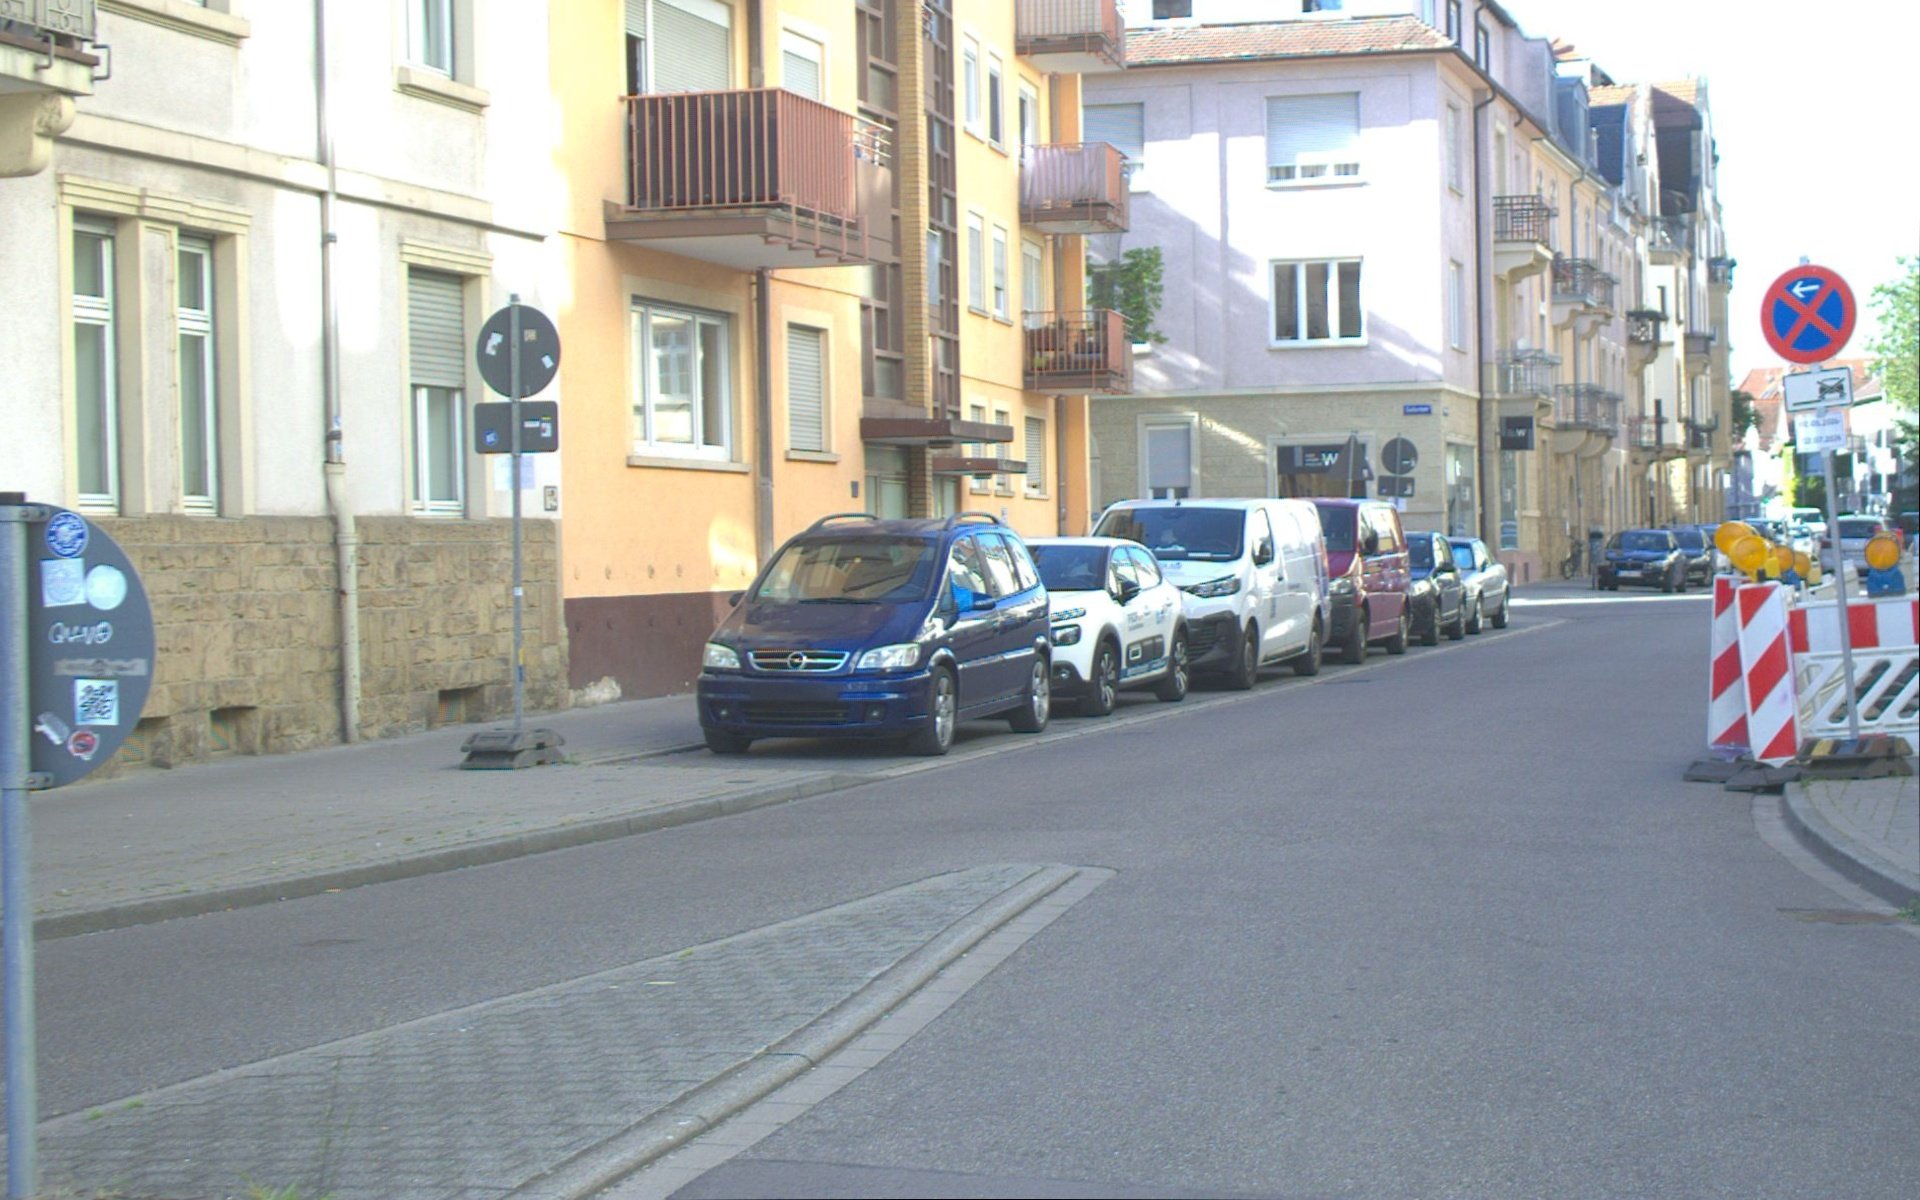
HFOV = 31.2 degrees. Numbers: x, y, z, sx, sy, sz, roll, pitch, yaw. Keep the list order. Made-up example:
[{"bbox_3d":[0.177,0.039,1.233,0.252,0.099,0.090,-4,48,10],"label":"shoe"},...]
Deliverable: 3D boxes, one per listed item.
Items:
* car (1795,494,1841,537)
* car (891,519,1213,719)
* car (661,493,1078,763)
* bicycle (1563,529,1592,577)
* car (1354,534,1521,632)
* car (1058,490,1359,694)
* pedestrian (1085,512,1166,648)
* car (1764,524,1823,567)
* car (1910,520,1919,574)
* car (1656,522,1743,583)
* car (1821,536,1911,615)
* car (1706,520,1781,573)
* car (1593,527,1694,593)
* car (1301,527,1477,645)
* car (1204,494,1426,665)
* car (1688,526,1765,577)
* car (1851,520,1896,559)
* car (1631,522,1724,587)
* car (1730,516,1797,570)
[{"bbox_3d":[42.057,-4.125,168.452,2.005,1.993,4.484,1,1,16],"label":"car"},{"bbox_3d":[0.888,0.109,30.047,1.764,1.615,4.292,0,1,16],"label":"car"},{"bbox_3d":[-0.543,0.142,24.764,1.764,1.765,4.291,0,1,16],"label":"car"},{"bbox_3d":[16.887,-1.279,94.020,0.541,1.297,1.865,0,1,18],"label":"bicycle"},{"bbox_3d":[7.182,-0.283,51.396,1.764,1.373,4.475,0,1,17],"label":"car"},{"bbox_3d":[2.638,-0.133,35.144,1.977,1.918,5.305,0,1,16],"label":"car"},{"bbox_3d":[2.244,-0.280,46.443,0.924,1.811,0.994,0,1,13],"label":"pedestrian"},{"bbox_3d":[32.232,-2.095,132.894,2.005,1.600,4.484,1,1,16],"label":"car"},{"bbox_3d":[36.525,-1.937,128.295,2.005,1.993,4.484,1,1,16],"label":"car"},{"bbox_3d":[20.447,-1.293,94.962,2.005,1.613,4.484,1,1,16],"label":"car"},{"bbox_3d":[23.046,-0.631,87.373,2.005,1.907,4.484,1,1,17],"label":"car"},{"bbox_3d":[24.646,-1.669,108.046,2.005,1.613,4.484,1,1,16],"label":"car"},{"bbox_3d":[15.519,-0.905,77.904,1.681,1.421,4.270,2,1,18],"label":"car"},{"bbox_3d":[5.857,-0.221,46.594,1.764,1.497,3.997,-1,1,15],"label":"car"},{"bbox_3d":[4.309,-0.280,41.062,1.764,1.918,4.931,0,1,16],"label":"car"},{"bbox_3d":[23.103,-1.443,103.556,1.980,1.477,4.325,1,1,16],"label":"car"},{"bbox_3d":[44.417,-2.943,167.120,2.005,1.811,4.484,1,1,16],"label":"car"},{"bbox_3d":[18.462,-1.156,88.324,2.005,1.577,4.484,1,1,16],"label":"car"},{"bbox_3d":[27.740,-1.935,118.569,2.005,1.782,4.484,1,1,16],"label":"car"}]
